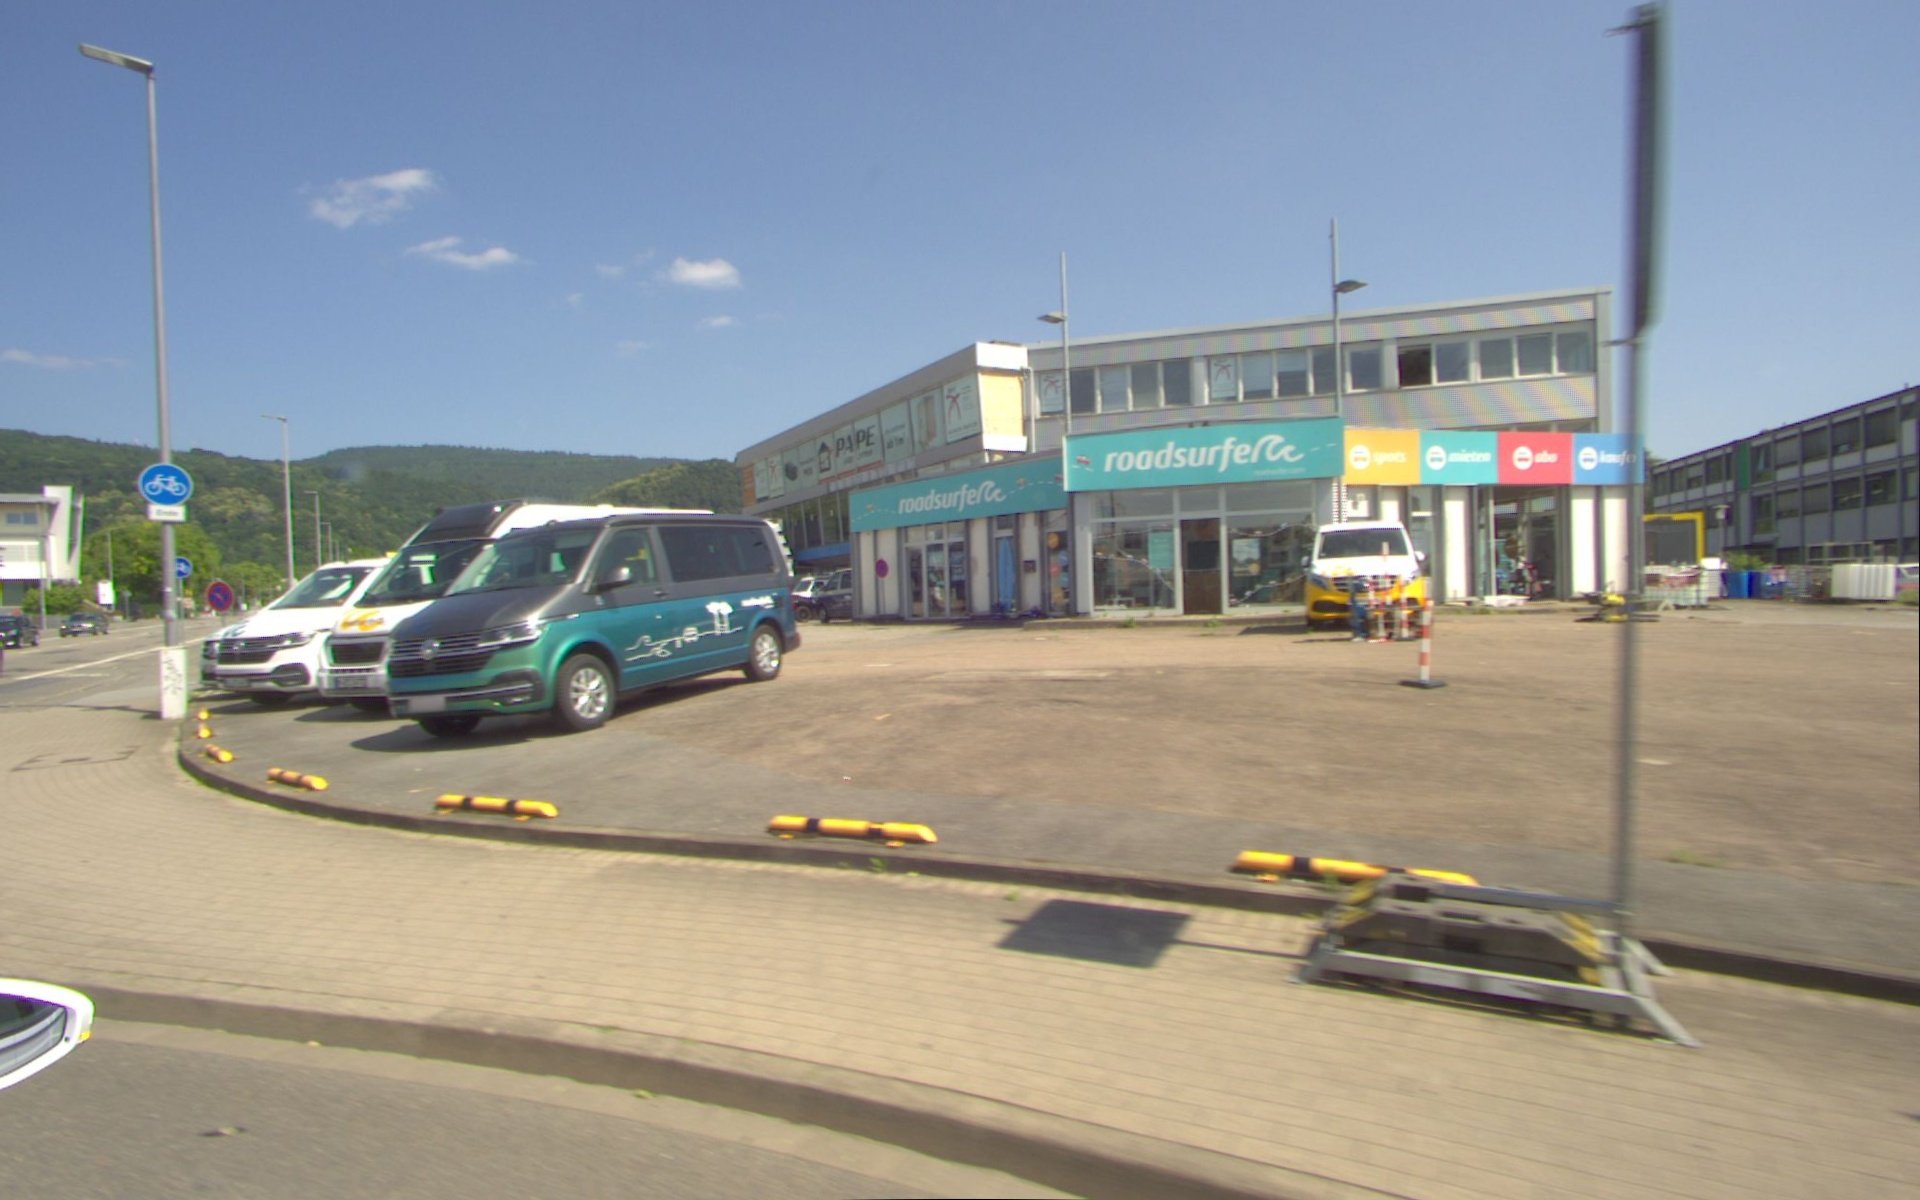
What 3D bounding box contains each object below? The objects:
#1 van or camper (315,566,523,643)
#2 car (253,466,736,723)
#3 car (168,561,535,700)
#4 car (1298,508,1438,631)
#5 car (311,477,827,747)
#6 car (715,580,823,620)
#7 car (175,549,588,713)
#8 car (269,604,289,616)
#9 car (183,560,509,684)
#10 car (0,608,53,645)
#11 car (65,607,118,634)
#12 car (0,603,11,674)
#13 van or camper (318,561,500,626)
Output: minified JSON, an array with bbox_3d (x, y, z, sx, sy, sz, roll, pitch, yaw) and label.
[{"bbox_3d":[-19.770,0.107,36.879,6.430,2.596,2.959,-1,1,-30],"label":"van or camper"},{"bbox_3d":[-5.927,-0.098,13.997,2.268,2.754,6.138,-1,1,23],"label":"car"},{"bbox_3d":[-10.239,0.374,17.399,1.901,2.041,5.125,-1,2,29],"label":"car"},{"bbox_3d":[7.467,-0.527,18.629,2.062,1.902,5.089,-2,1,20],"label":"car"},{"bbox_3d":[-3.647,0.017,10.739,2.062,2.142,5.211,-3,2,21],"label":"car"},{"bbox_3d":[-7.831,-0.024,41.097,3.942,1.539,1.880,-2,1,-31],"label":"car"},{"bbox_3d":[-8.349,0.359,15.137,1.992,2.027,5.140,-2,1,25],"label":"car"},{"bbox_3d":[-80.410,1.157,118.251,1.700,1.321,3.977,-2,1,-31],"label":"car"},{"bbox_3d":[-11.881,0.386,19.834,2.019,2.122,5.134,-2,0,29],"label":"car"},{"bbox_3d":[-41.114,1.137,43.468,1.821,1.484,3.977,-2,1,-31],"label":"car"},{"bbox_3d":[-52.671,1.227,60.792,1.822,1.484,3.976,-2,1,-32],"label":"car"},{"bbox_3d":[-23.738,0.933,23.138,1.974,1.730,3.973,1,0,-34],"label":"car"},{"bbox_3d":[-23.472,-0.313,42.905,6.530,2.596,3.382,-1,1,-30],"label":"van or camper"}]
